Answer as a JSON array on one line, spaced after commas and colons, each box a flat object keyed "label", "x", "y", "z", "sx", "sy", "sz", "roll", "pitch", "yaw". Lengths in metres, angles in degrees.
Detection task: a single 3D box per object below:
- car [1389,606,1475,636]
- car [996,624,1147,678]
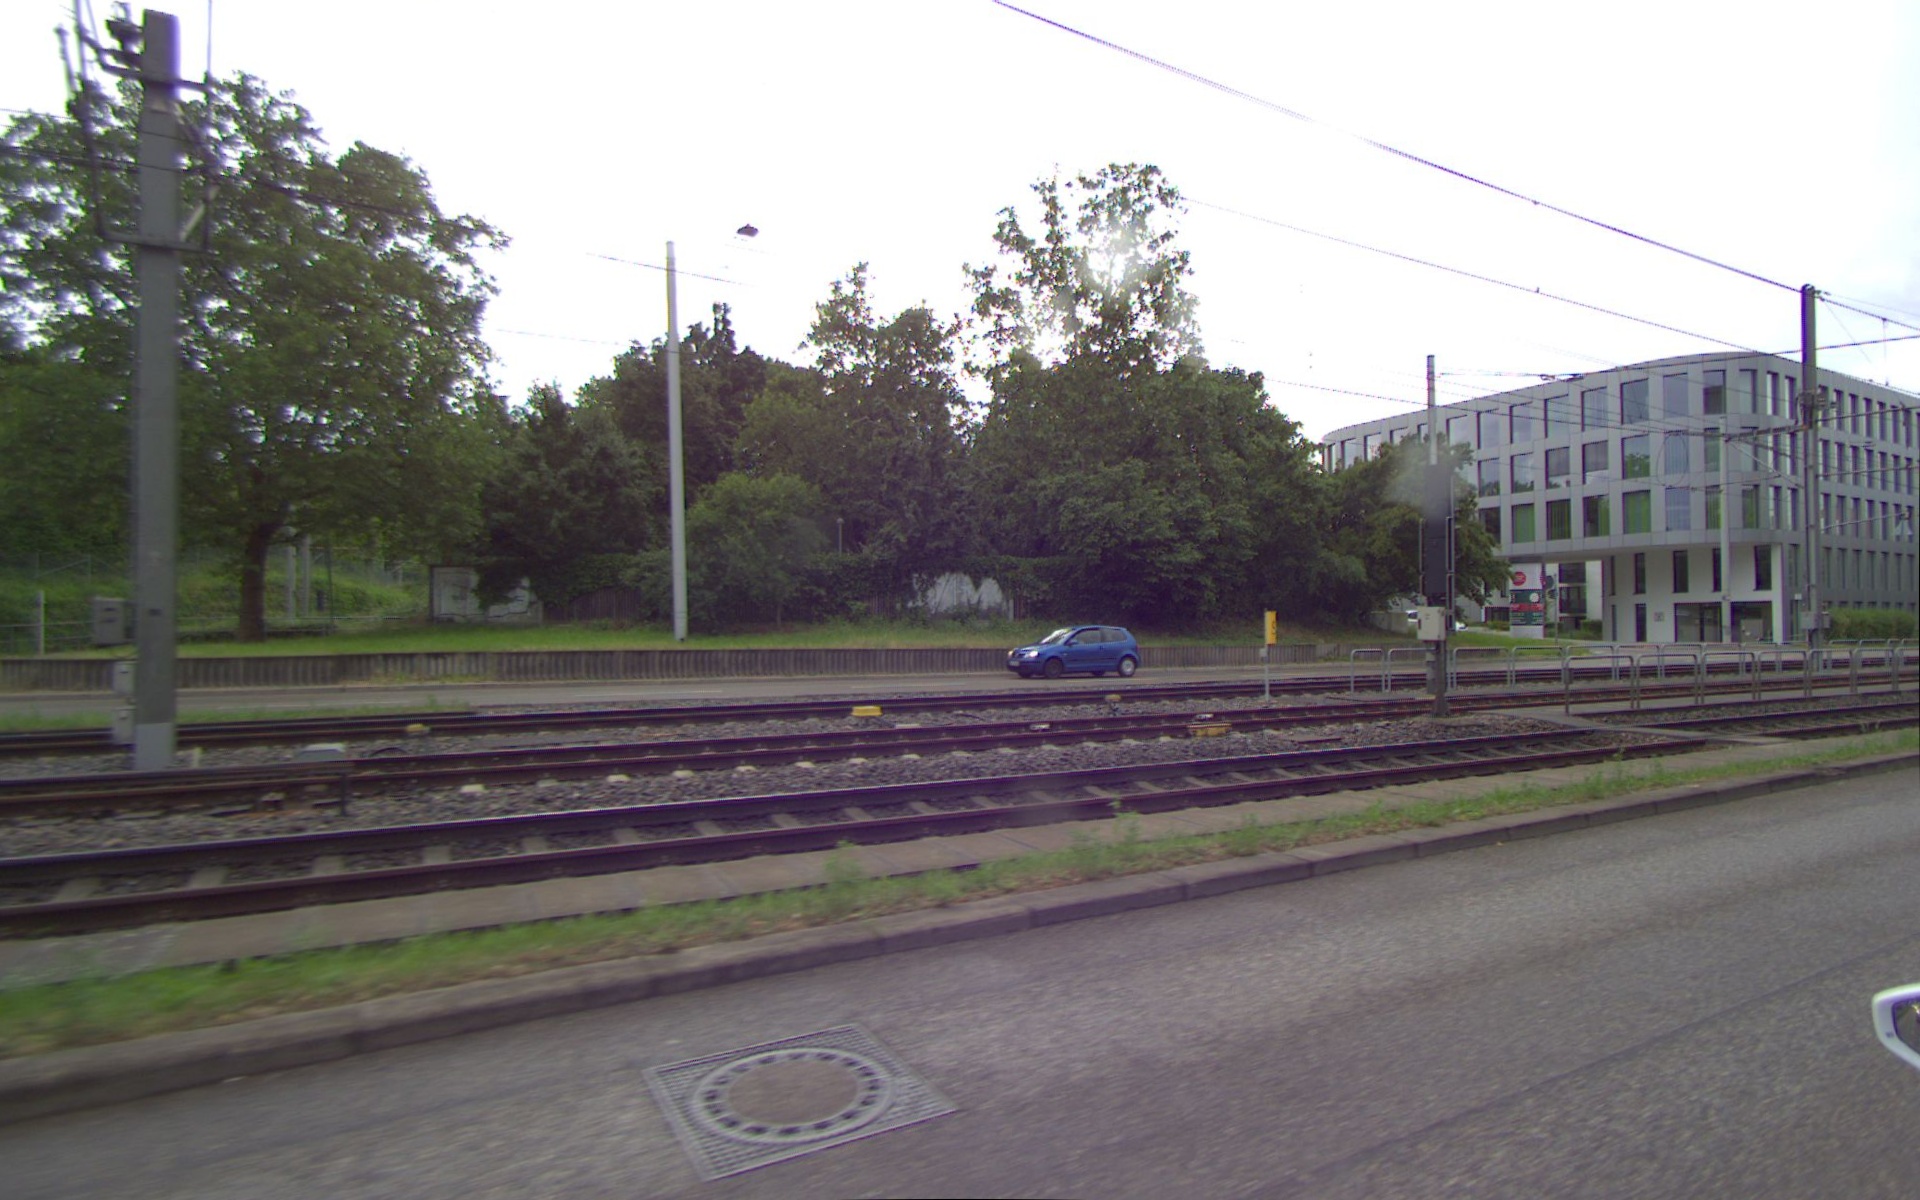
[{"label": "car", "x": 26.300, "y": 1.134, "z": 56.060, "sx": 1.904, "sy": 1.472, "sz": 3.897, "roll": 1, "pitch": 1, "yaw": -32}, {"label": "car", "x": 3.104, "y": 1.370, "z": 27.873, "sx": 3.851, "sy": 1.416, "sz": 1.754, "roll": 1, "pitch": -2, "yaw": -28}]
